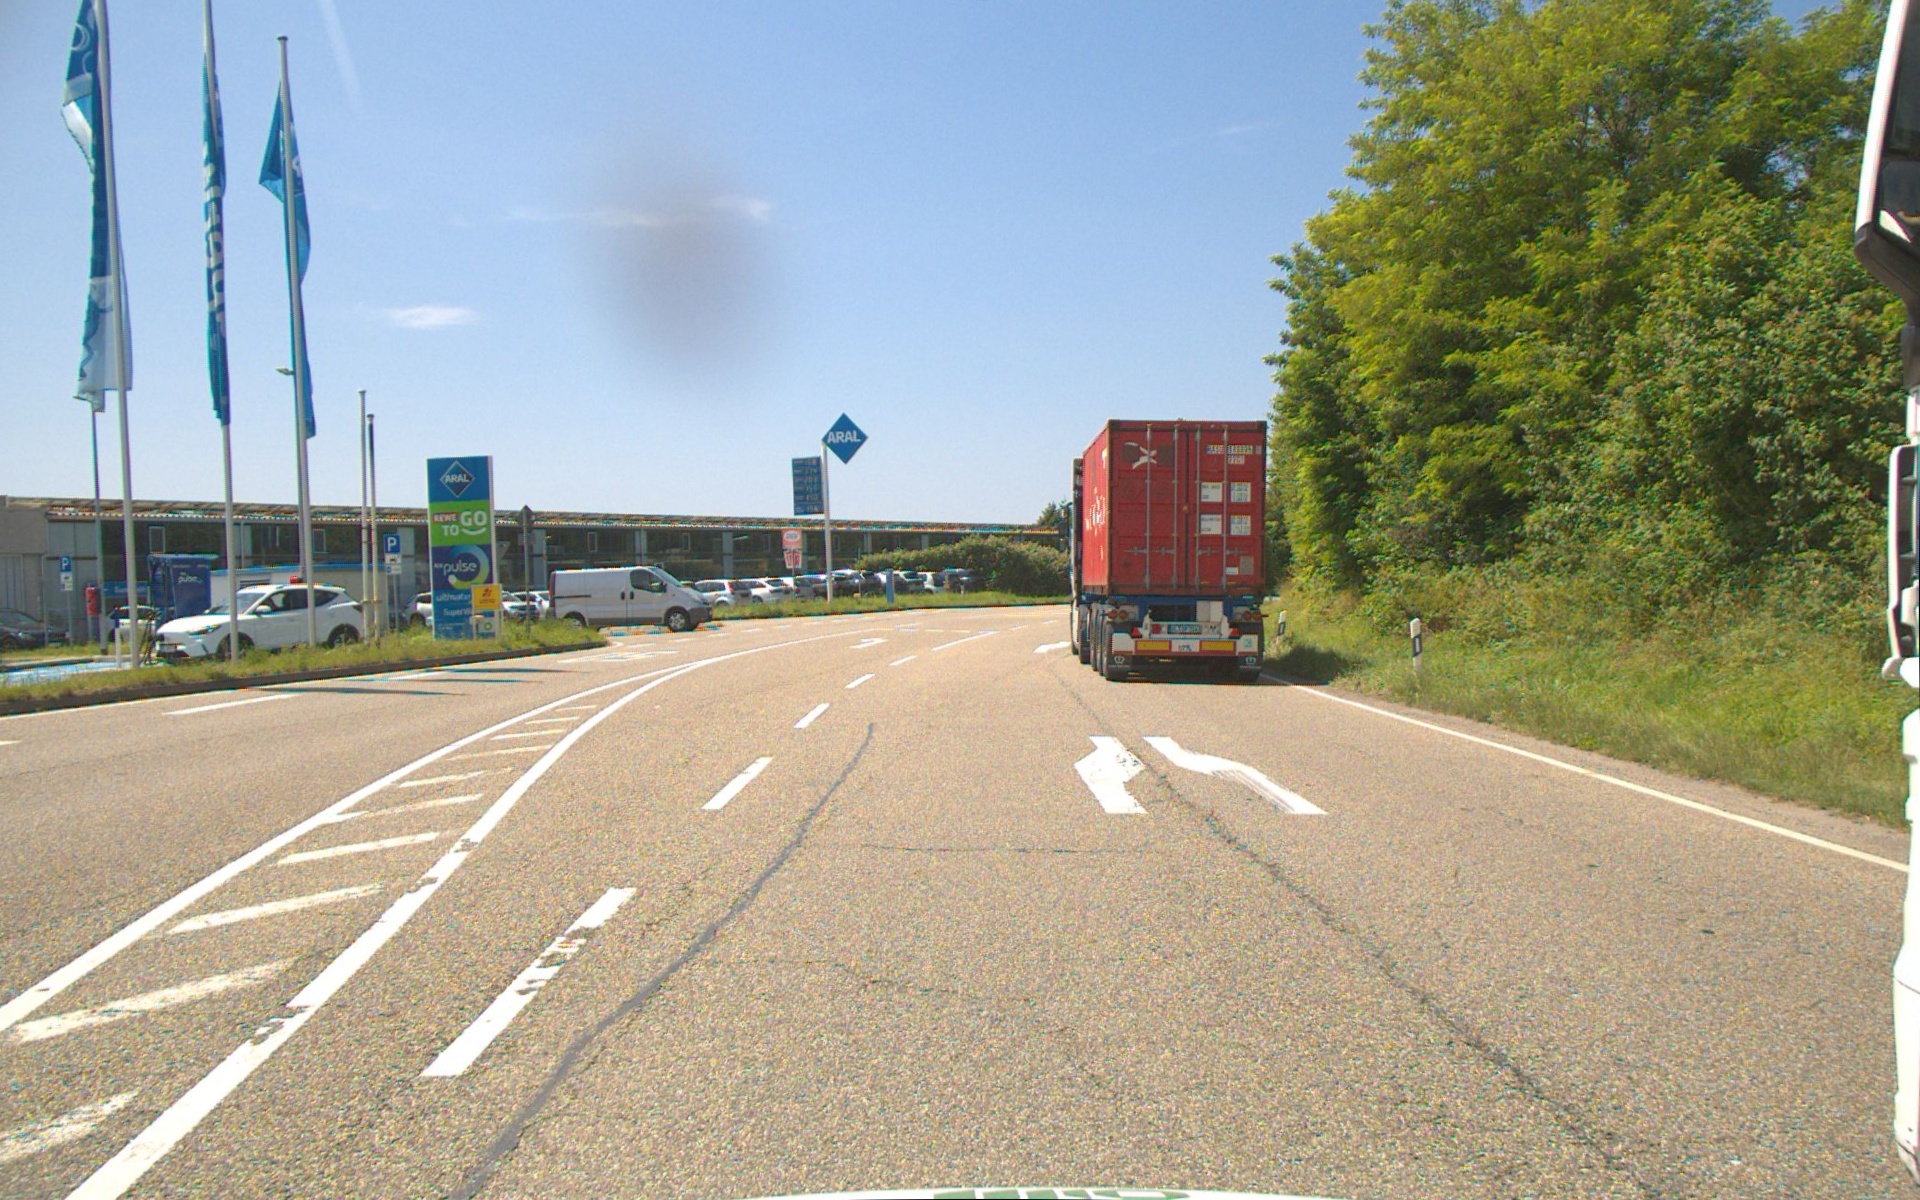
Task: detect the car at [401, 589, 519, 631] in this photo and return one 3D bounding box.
[{"bbox_3d":[-20.796,0.405,68.796,4.488,1.530,1.999,-2,0,26],"label":"car"}]

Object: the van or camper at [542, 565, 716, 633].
[{"bbox_3d":[-9.798,-0.027,49.248,4.747,1.938,1.905,-1,0,1],"label":"van or camper"}]

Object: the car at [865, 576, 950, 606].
[{"bbox_3d":[-2.660,-0.438,84.432,3.908,1.340,1.832,-2,0,25],"label":"car"}]

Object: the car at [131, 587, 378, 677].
[{"bbox_3d":[-14.500,0.629,34.257,1.829,1.742,4.508,-1,0,32],"label":"car"}]

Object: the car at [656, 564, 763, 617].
[{"bbox_3d":[-10.362,-0.393,68.434,3.908,2.049,1.998,-1,1,26],"label":"car"}]

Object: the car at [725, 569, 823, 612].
[{"bbox_3d":[-8.208,-0.417,72.977,3.910,1.780,1.932,-1,1,28],"label":"car"}]

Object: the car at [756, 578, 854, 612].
[{"bbox_3d":[-6.999,-0.242,74.796,3.910,1.355,1.998,-2,0,28],"label":"car"}]

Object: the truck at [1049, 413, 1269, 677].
[{"bbox_3d":[3.330,-0.928,31.329,2.593,3.872,13.361,1,1,1],"label":"truck"}]

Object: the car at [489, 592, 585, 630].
[{"bbox_3d":[-18.673,0.499,73.022,3.909,1.610,1.816,-1,0,27],"label":"car"}]

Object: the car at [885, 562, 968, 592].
[{"bbox_3d":[-1.741,-1.180,86.381,3.907,1.386,1.819,-2,0,25],"label":"car"}]

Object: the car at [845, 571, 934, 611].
[{"bbox_3d":[-3.490,-0.449,82.175,3.910,1.780,1.998,-2,0,28],"label":"car"}]

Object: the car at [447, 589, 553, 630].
[{"bbox_3d":[-19.666,0.404,70.700,4.042,1.530,1.999,-2,0,26],"label":"car"}]

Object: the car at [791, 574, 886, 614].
[{"bbox_3d":[-5.590,-0.259,76.258,3.910,1.780,1.997,-1,0,28],"label":"car"}]

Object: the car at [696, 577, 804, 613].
[{"bbox_3d":[-8.946,-0.219,70.523,4.153,1.383,1.998,-1,1,26],"label":"car"}]
